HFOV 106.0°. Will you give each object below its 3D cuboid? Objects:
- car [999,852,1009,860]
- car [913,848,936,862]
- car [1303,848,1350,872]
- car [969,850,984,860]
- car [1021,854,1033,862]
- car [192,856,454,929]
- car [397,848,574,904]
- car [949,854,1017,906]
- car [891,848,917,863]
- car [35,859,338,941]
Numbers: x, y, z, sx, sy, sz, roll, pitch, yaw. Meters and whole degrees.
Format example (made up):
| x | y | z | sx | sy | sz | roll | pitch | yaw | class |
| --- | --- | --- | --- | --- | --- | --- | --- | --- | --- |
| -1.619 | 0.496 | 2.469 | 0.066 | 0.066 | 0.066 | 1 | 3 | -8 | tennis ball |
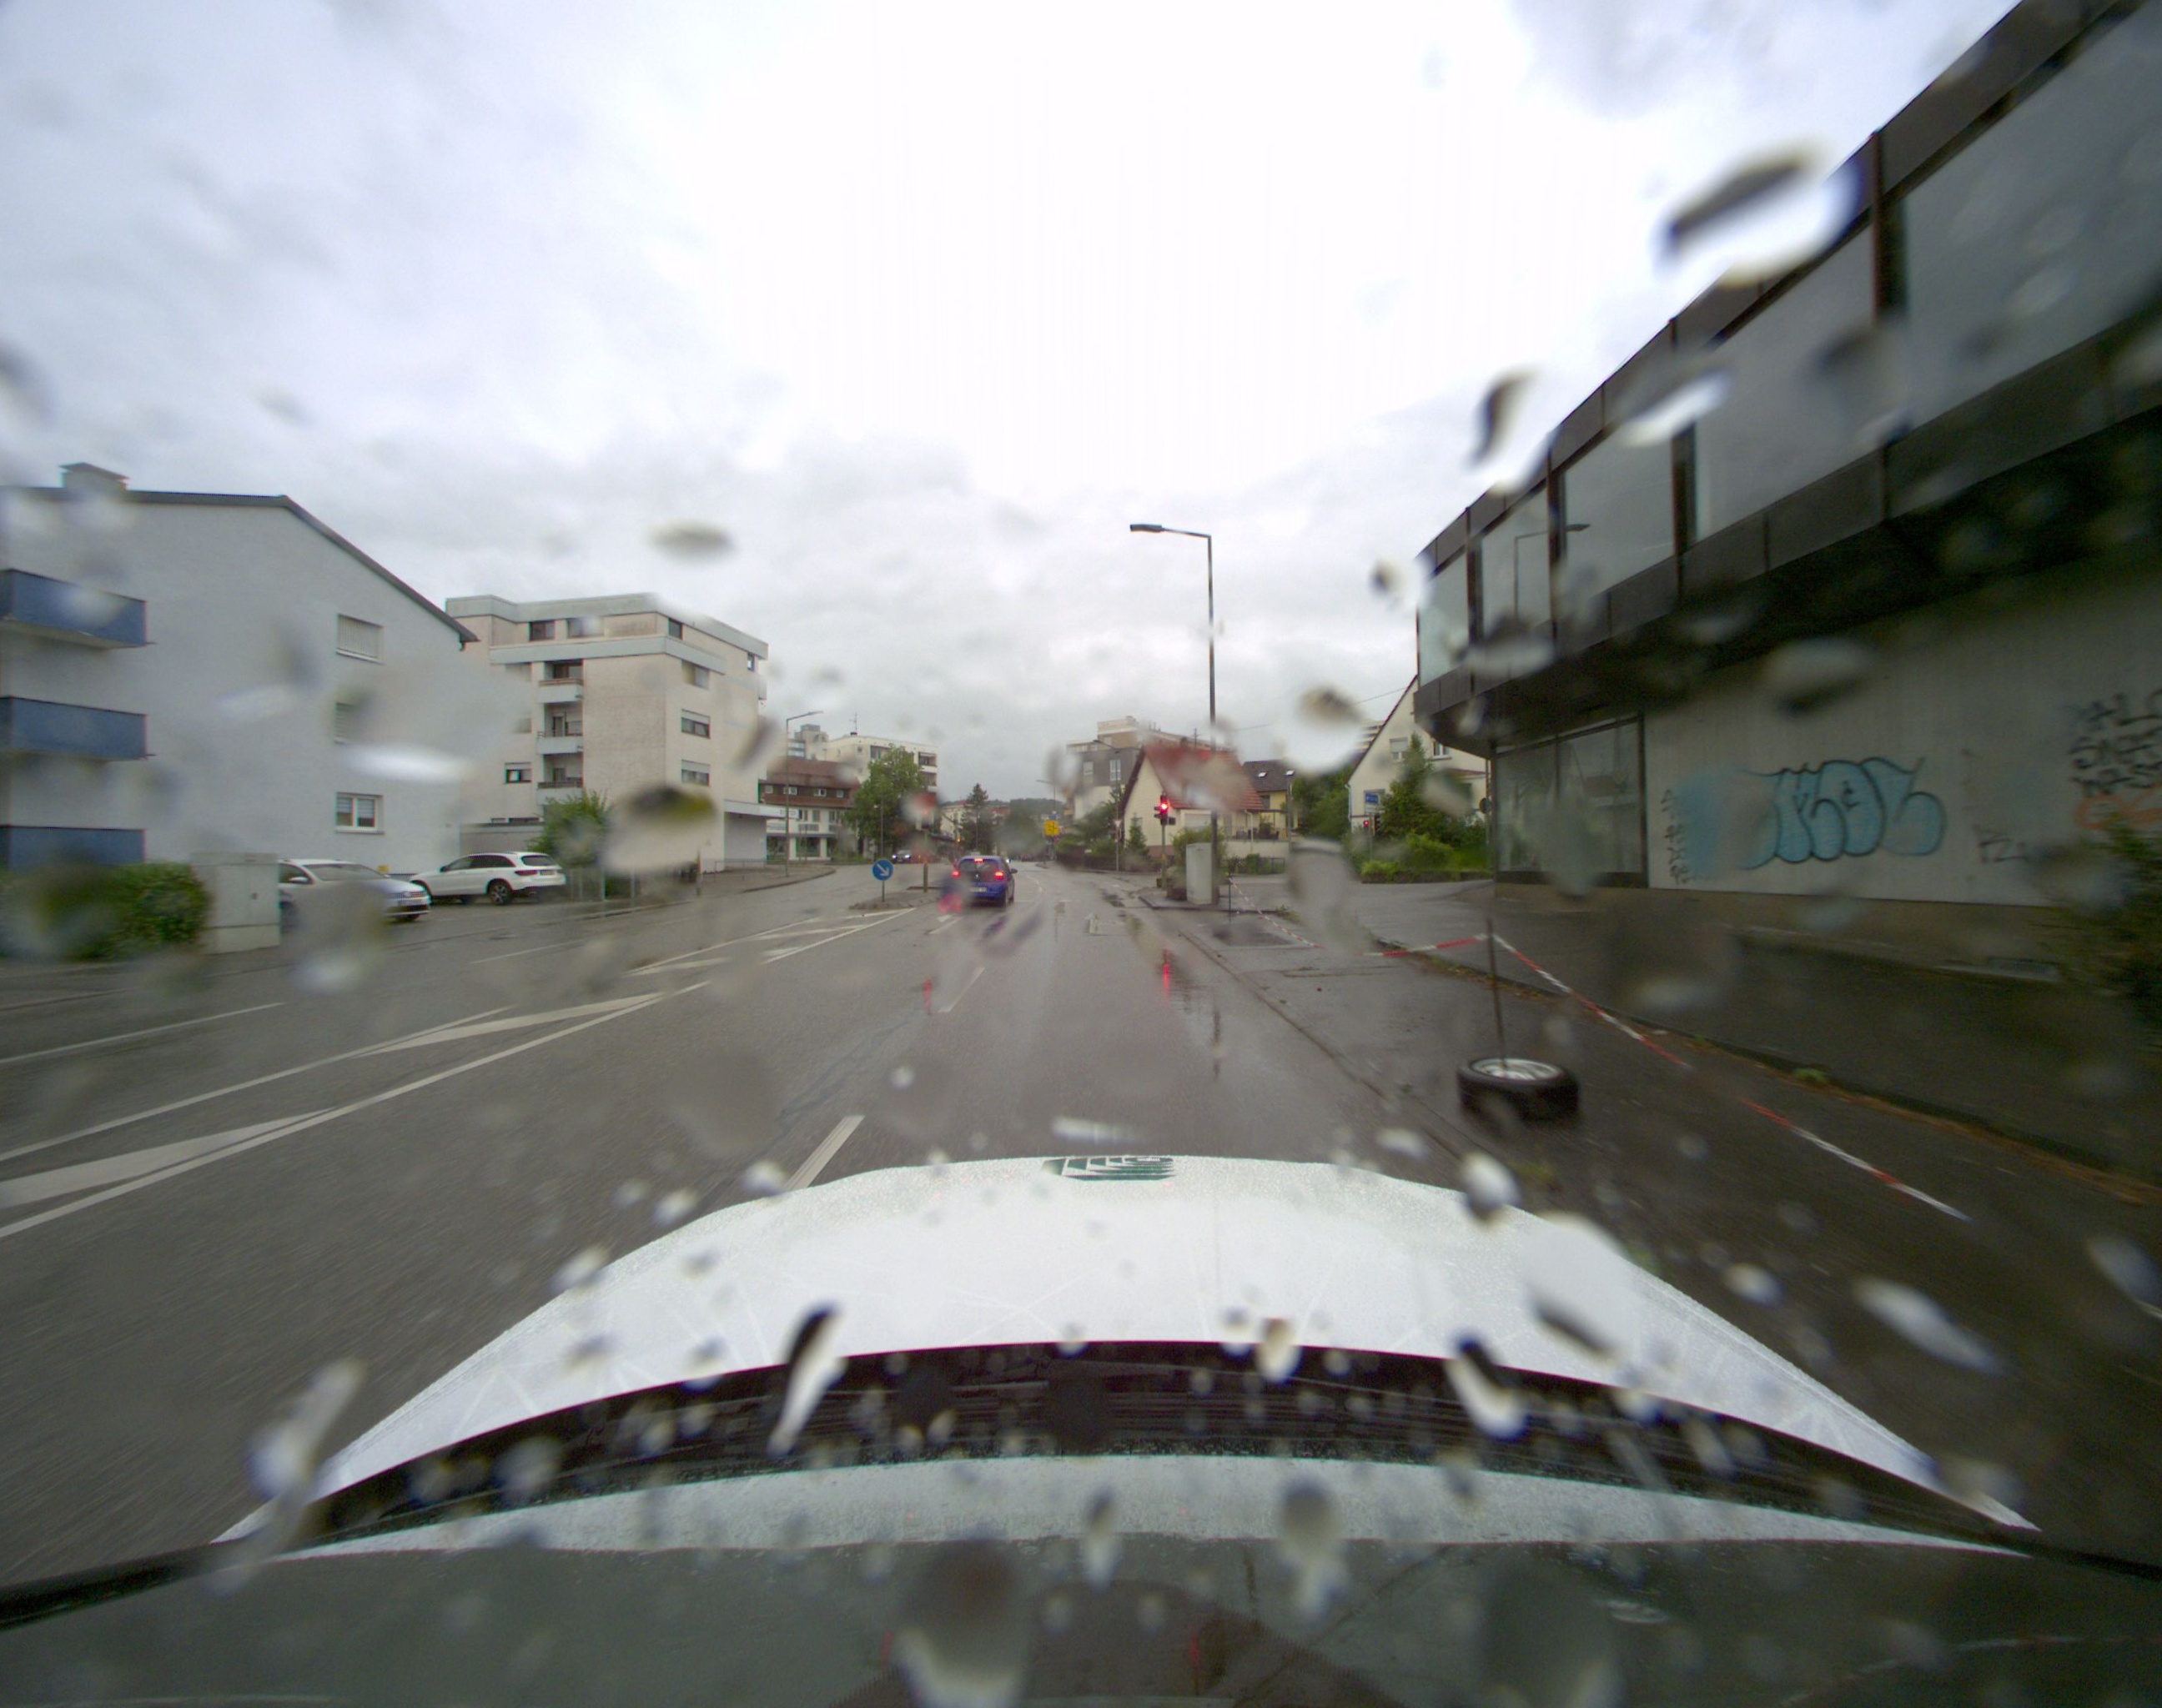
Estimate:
| x | y | z | sx | sy | sz | roll | pitch | yaw | class |
| --- | --- | --- | --- | --- | --- | --- | --- | --- | --- |
| -16.451 | 0.430 | 173.362 | 1.749 | 1.815 | 3.862 | 0 | 0 | 1 | car |
| -17.076 | 0.096 | 88.986 | 1.709 | 1.387 | 4.020 | 0 | 0 | 0 | car |
| 16.184 | 0.362 | 53.603 | 1.722 | 1.514 | 4.026 | 0 | 0 | 37 | car |
| -15.749 | 0.188 | 122.475 | 1.773 | 1.420 | 3.830 | 0 | 0 | 0 | car |
| -9.886 | 0.697 | 148.172 | 1.807 | 1.486 | 4.189 | -1 | 0 | 1 | car |
| -16.731 | 0.821 | 18.105 | 4.198 | 1.474 | 1.907 | -1 | 0 | 5 | car |
| -18.709 | 0.674 | 25.673 | 4.423 | 1.636 | 1.945 | -1 | 0 | 10 | car |
| -2.812 | 0.704 | 24.005 | 1.573 | 1.410 | 3.270 | 0 | 0 | 0 | car |
| -17.725 | 0.146 | 81.655 | 1.773 | 1.420 | 3.830 | 0 | 0 | 0 | car |
| -17.261 | 0.858 | 15.844 | 3.967 | 1.411 | 1.907 | -1 | 0 | 5 | car |
